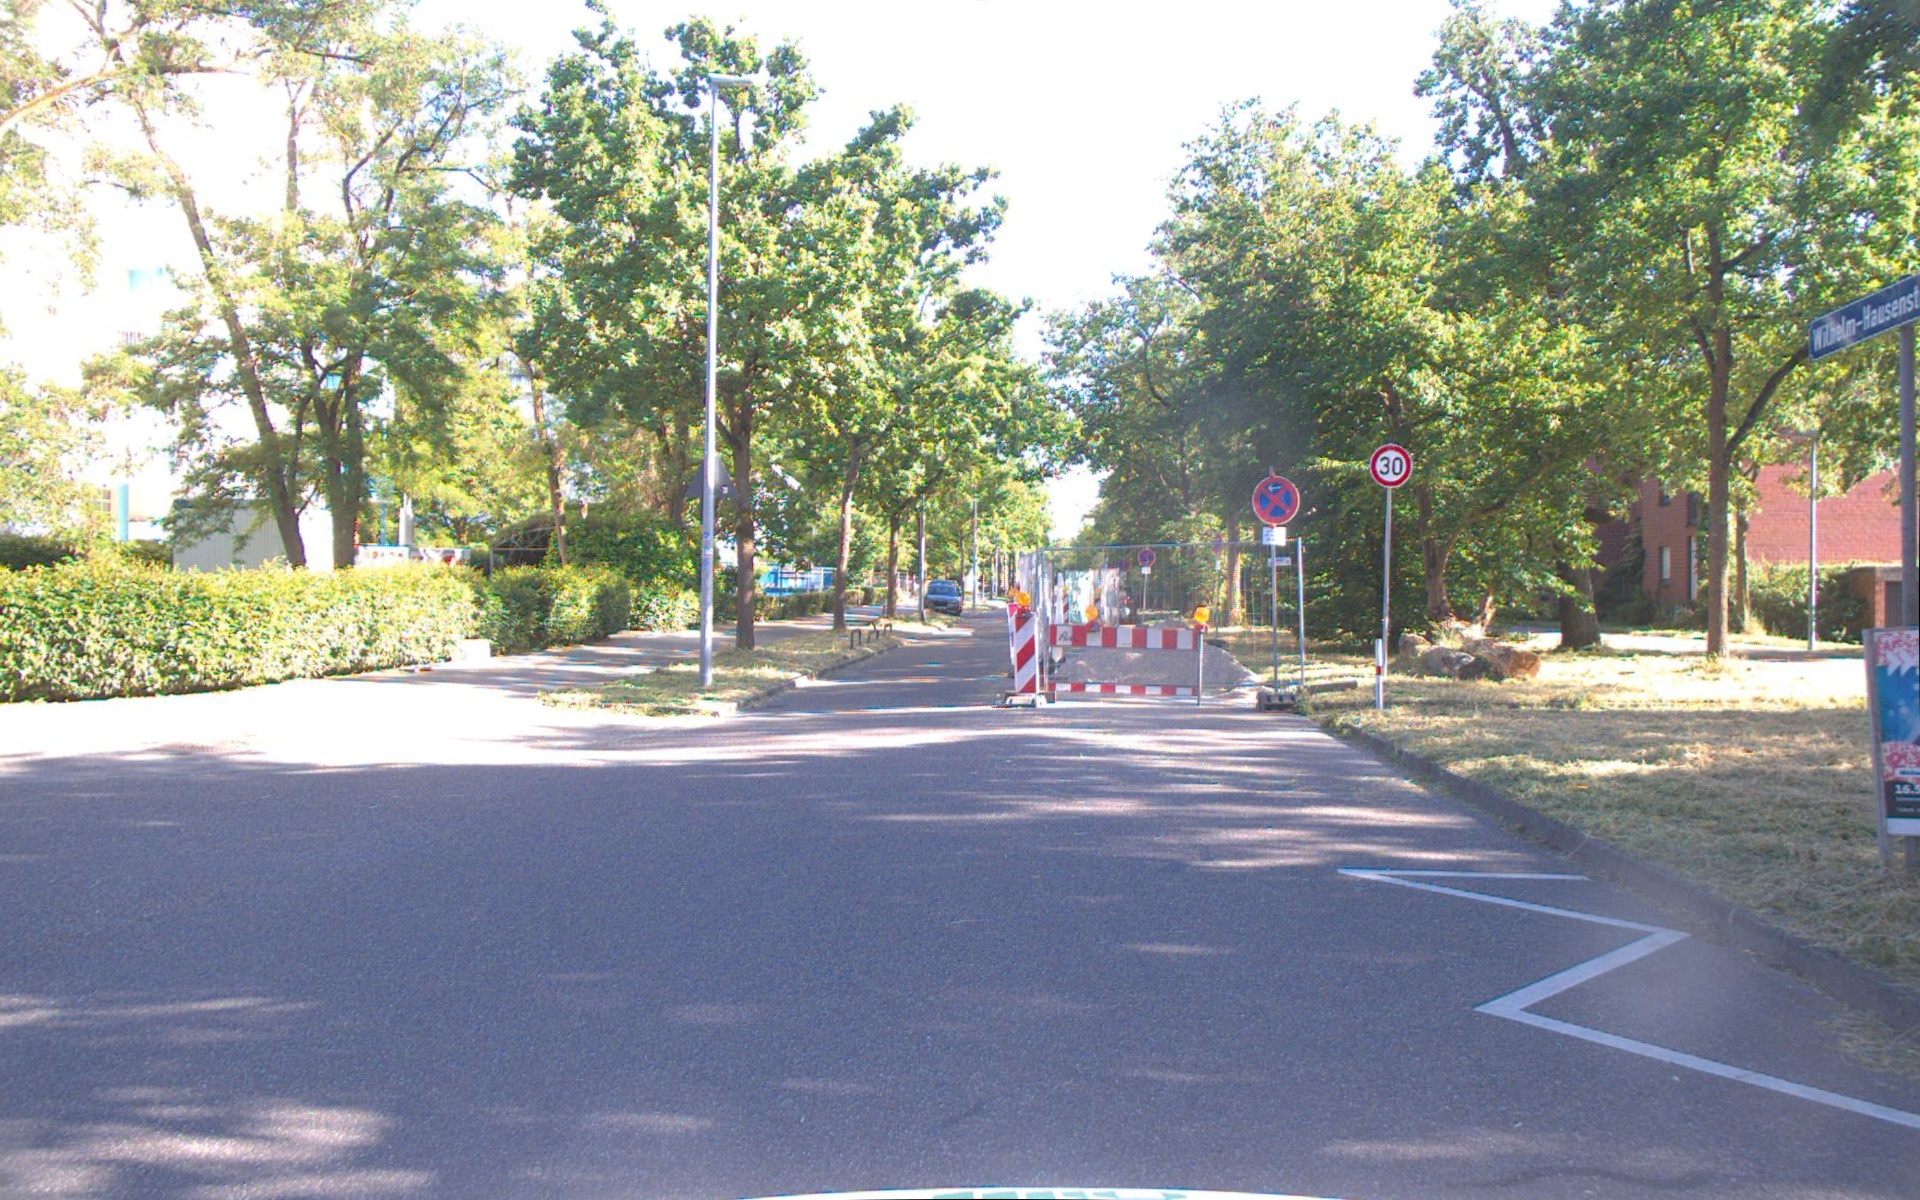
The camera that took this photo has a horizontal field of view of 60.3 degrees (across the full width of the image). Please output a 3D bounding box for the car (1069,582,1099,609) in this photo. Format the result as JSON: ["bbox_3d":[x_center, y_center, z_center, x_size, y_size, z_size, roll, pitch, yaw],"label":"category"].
[{"bbox_3d":[6.407,-0.228,85.454,1.333,1.325,3.482,1,0,1],"label":"car"}]

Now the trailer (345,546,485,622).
[{"bbox_3d":[-15.587,-0.469,47.596,1.934,2.078,4.434,0,1,10],"label":"trailer"}]

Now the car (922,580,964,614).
[{"bbox_3d":[-0.767,-0.164,76.273,1.714,1.504,3.838,0,1,2],"label":"car"}]

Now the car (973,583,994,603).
[{"bbox_3d":[1.599,-0.454,111.328,1.333,1.325,3.482,1,0,1],"label":"car"}]

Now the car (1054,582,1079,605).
[{"bbox_3d":[6.345,-0.356,98.454,1.333,1.325,3.482,1,0,1],"label":"car"}]
